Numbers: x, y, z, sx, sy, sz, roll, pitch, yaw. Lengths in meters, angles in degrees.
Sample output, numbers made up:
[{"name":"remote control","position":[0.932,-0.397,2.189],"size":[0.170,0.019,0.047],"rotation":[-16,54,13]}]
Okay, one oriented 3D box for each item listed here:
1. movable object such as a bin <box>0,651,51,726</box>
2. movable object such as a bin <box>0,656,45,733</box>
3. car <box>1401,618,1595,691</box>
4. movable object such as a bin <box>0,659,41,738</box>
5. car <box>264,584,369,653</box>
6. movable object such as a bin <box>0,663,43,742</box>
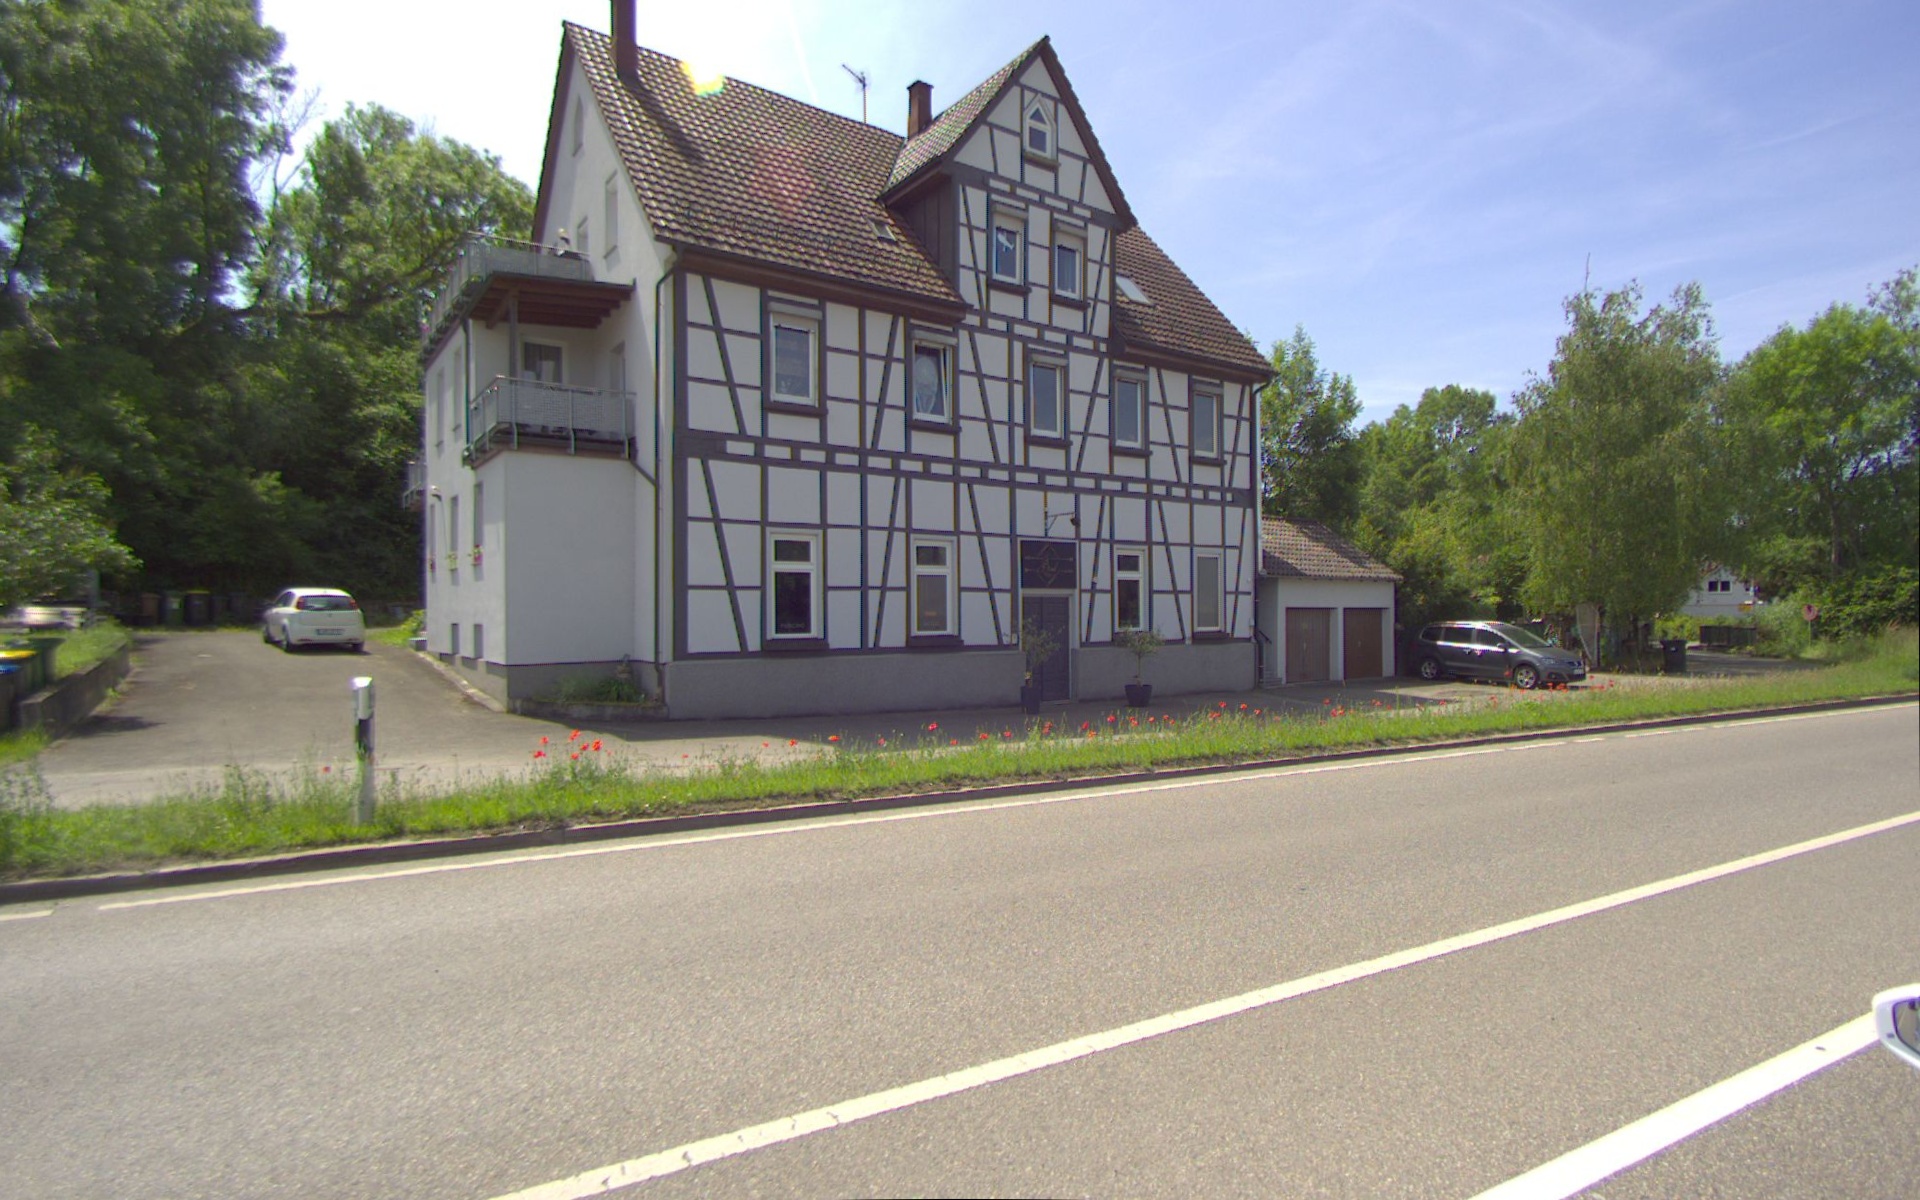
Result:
[{"name":"movable object such as a bin","position":[-13.027,1.214,13.855],"size":[0.649,0.989,0.499],"rotation":[2,-1,-38]},{"name":"movable object such as a bin","position":[-12.727,1.249,13.430],"size":[0.649,0.984,0.499],"rotation":[2,-1,-38]},{"name":"car","position":[15.362,1.485,28.946],"size":[1.842,1.743,4.635],"rotation":[-2,2,-33]},{"name":"movable object such as a bin","position":[-12.390,1.271,13.002],"size":[0.649,0.982,0.499],"rotation":[2,-1,-38]},{"name":"car","position":[-16.252,0.431,25.322],"size":[1.660,1.466,3.344],"rotation":[1,2,-43]},{"name":"movable object such as a bin","position":[-11.998,1.280,12.607],"size":[0.649,0.948,0.499],"rotation":[3,-1,-38]}]
